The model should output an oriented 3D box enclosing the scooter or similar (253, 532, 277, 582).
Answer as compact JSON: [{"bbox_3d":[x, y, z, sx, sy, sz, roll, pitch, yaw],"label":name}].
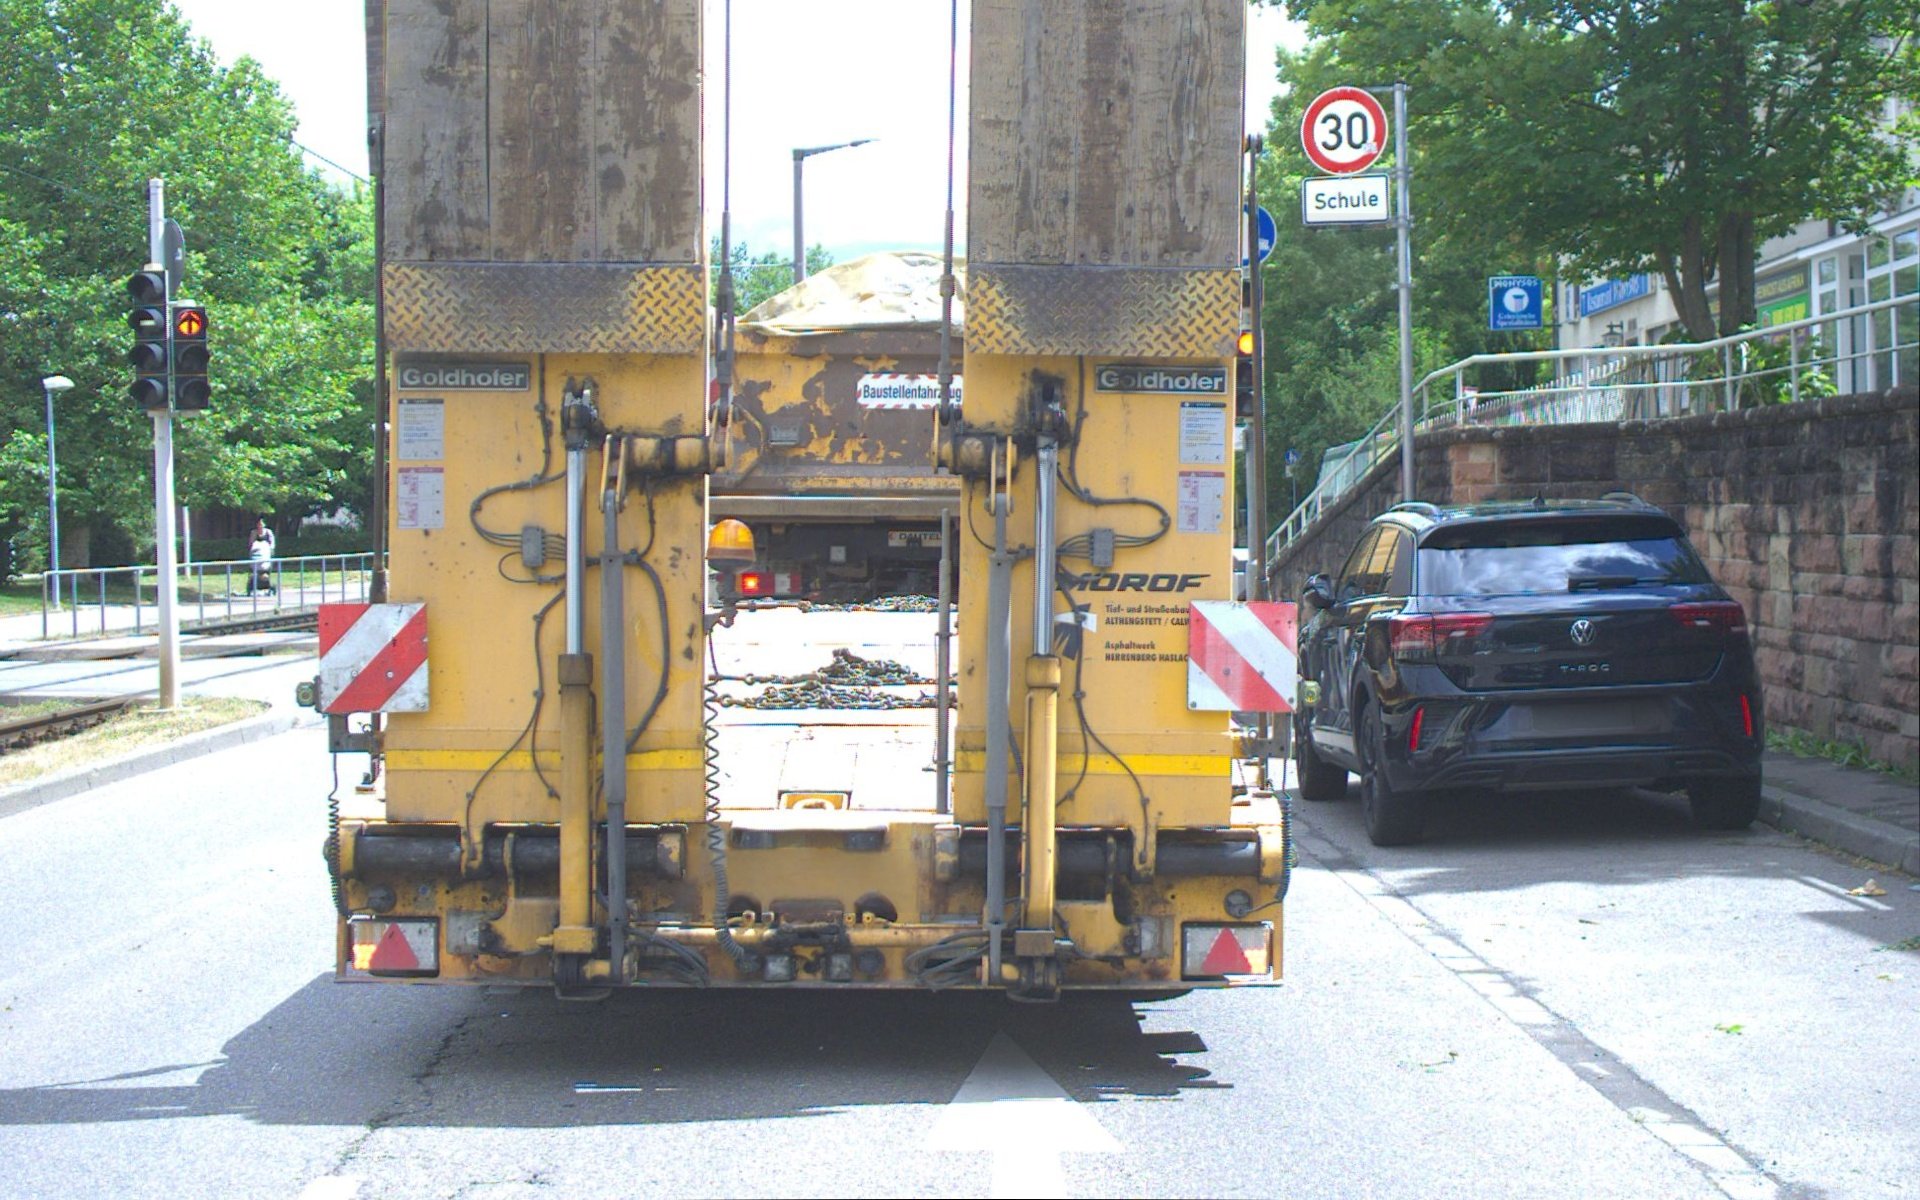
[{"bbox_3d":[-14.733,-0.911,72.898,0.338,1.054,0.687,-1,1,3],"label":"scooter or similar"}]

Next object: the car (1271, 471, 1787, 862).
[{"bbox_3d":[2.654,0.245,16.940,1.851,1.633,4.000,-2,1,0],"label":"car"}]

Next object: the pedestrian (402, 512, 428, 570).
[{"bbox_3d":[-14.272,-1.552,90.054,0.563,1.508,0.646,1,1,-1],"label":"pedestrian"}]

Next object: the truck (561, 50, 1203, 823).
[{"bbox_3d":[-0.364,-0.820,18.466,2.942,3.560,4.877,-1,1,0],"label":"truck"}]

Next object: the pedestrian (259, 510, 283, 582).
[{"bbox_3d":[-14.731,-1.166,73.547,0.348,1.531,0.557,-1,1,3],"label":"pedestrian"}]

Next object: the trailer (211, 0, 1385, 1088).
[{"bbox_3d":[-0.384,-0.682,13.067,2.945,3.589,8.684,-1,1,0],"label":"trailer"}]

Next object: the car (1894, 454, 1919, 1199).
[{"bbox_3d":[2.881,0.530,4.933,1.789,1.612,4.249,-2,1,-1],"label":"car"}]

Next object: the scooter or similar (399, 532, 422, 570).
[{"bbox_3d":[-14.284,-1.282,89.407,0.505,0.968,0.646,1,1,-1],"label":"scooter or similar"}]
